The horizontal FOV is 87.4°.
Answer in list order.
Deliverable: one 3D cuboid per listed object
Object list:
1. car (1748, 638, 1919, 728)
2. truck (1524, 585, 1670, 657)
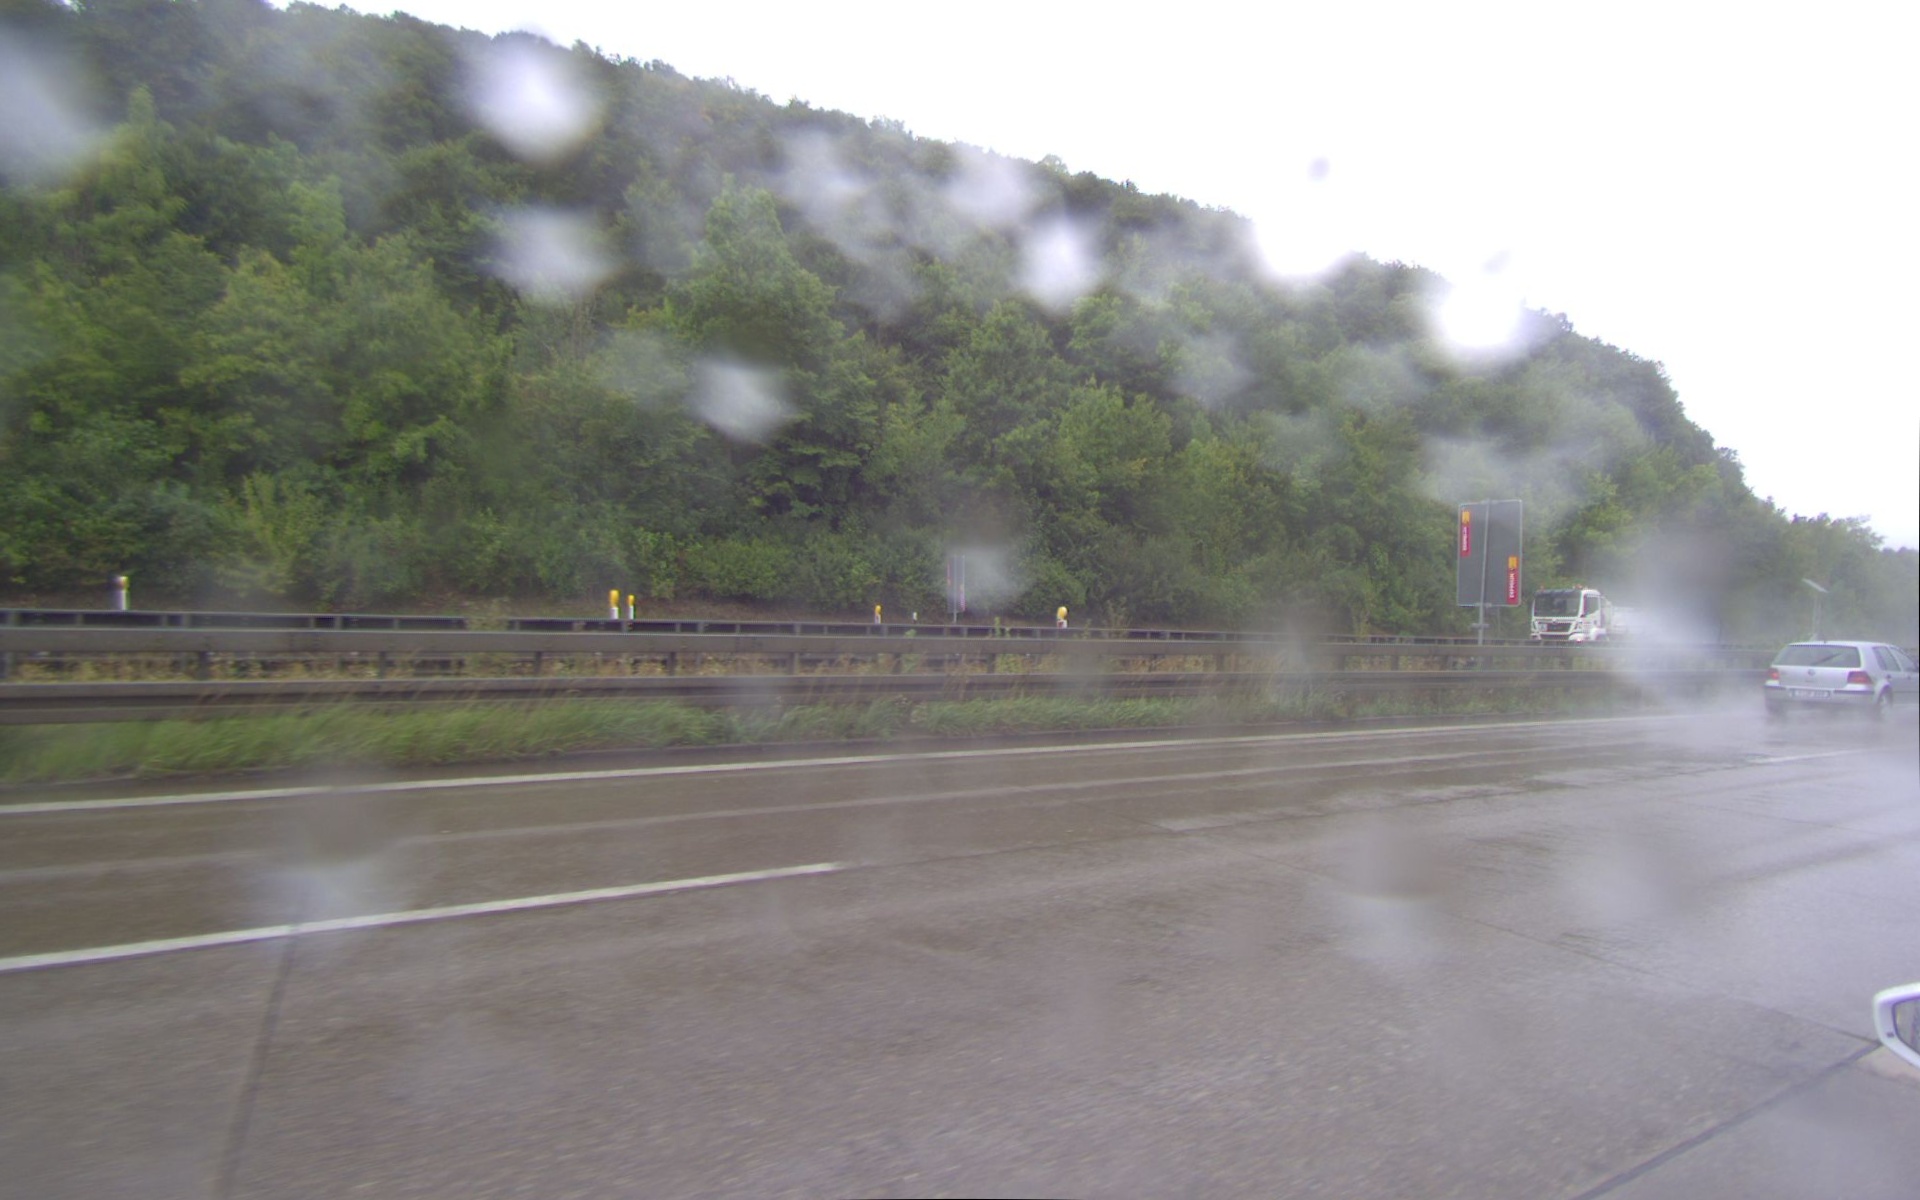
[{"bbox_3d":[16.841,1.512,18.932,4.299,1.453,1.659,2,0,-30],"label":"car"},{"bbox_3d":[29.194,0.972,45.914,7.829,3.059,2.286,2,0,-30],"label":"truck"}]
